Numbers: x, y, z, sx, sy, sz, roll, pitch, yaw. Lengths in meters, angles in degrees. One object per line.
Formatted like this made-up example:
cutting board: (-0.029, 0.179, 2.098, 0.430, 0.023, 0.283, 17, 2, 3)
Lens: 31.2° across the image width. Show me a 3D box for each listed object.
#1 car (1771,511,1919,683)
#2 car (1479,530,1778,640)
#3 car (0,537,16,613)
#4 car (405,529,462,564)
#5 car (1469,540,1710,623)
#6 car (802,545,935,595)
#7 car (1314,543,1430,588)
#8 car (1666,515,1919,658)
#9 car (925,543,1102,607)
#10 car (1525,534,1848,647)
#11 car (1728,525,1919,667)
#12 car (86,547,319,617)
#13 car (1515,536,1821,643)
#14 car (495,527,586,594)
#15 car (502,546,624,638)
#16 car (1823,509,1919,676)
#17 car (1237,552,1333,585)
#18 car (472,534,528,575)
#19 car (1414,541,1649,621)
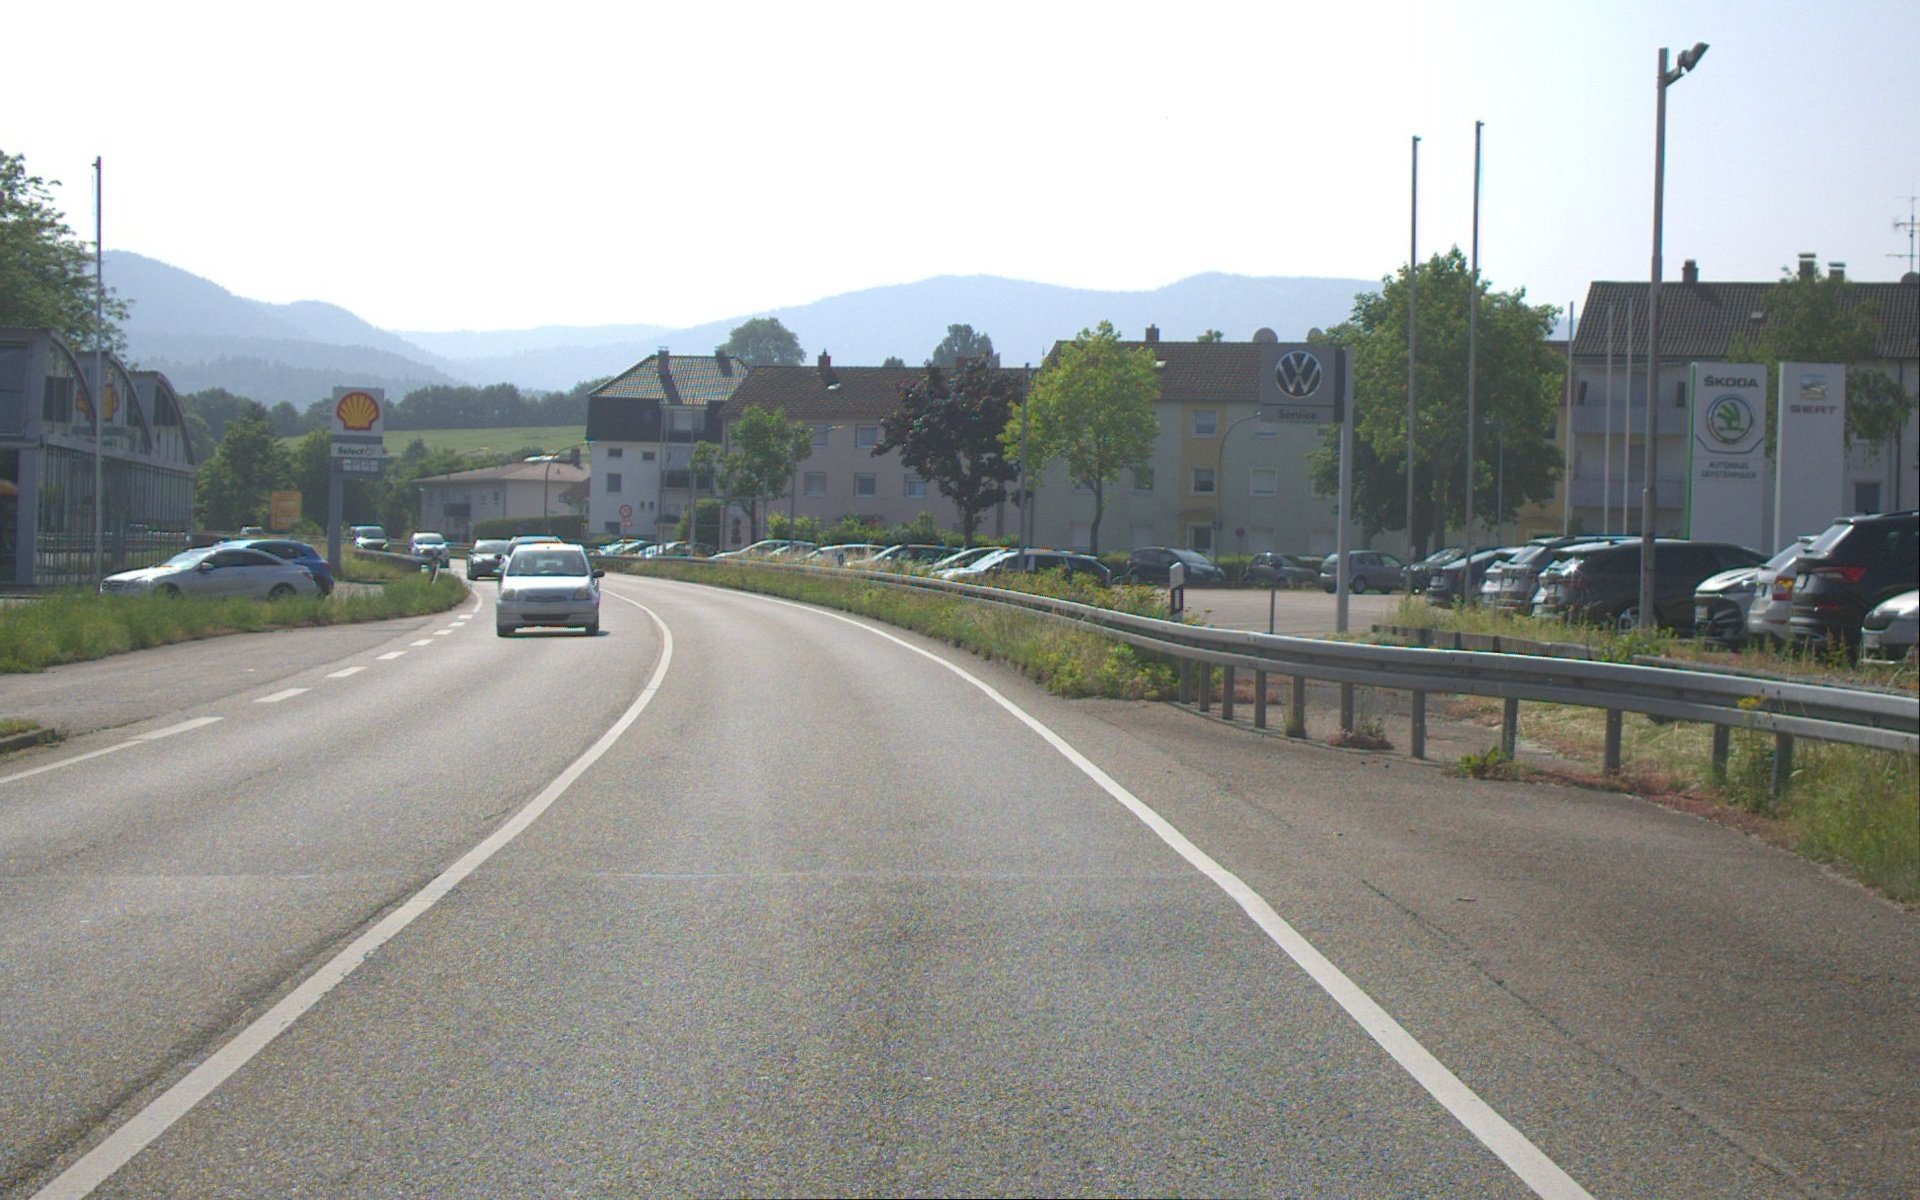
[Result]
car: (10.174, -0.047, 34.115, 3.879, 1.658, 1.840, 0, 0, 4)
car: (10.080, -0.227, 51.979, 4.075, 1.604, 1.793, 0, 0, -6)
car: (-19.541, -0.506, 62.463, 1.896, 1.398, 4.219, 2, 0, 44)
car: (-25.100, -2.533, 163.829, 1.792, 1.624, 4.228, -1, 1, -21)
car: (11.785, -0.351, 64.466, 4.091, 1.511, 1.825, 0, 0, -5)
car: (-2.958, -0.970, 110.773, 3.986, 1.574, 1.779, 0, 0, -13)
car: (14.030, -1.181, 117.117, 3.754, 1.516, 1.657, 0, 1, -35)
car: (10.574, -0.170, 39.574, 4.446, 1.595, 1.855, 0, 0, -4)
car: (1.302, -0.626, 85.194, 4.158, 1.485, 1.732, -1, 1, -7)
car: (9.846, -0.132, 46.771, 3.986, 1.489, 1.730, 0, 0, -1)
car: (10.426, -0.052, 36.879, 4.036, 1.481, 1.722, 0, 0, 4)
car: (-15.548, -0.392, 70.722, 1.852, 1.363, 4.383, 2, 2, 44)
car: (10.164, -0.157, 49.538, 3.986, 1.489, 1.791, 0, 0, -3)
car: (-10.576, -1.011, 86.933, 1.811, 1.624, 4.542, -1, 1, -1)
car: (-6.622, -0.154, 57.632, 1.677, 1.468, 3.707, -1, 1, -1)
car: (9.796, -0.083, 30.745, 3.731, 1.454, 1.665, 0, 0, 0)
car: (12.048, -1.171, 127.676, 1.589, 1.182, 3.662, 0, 1, -33)
car: (-16.900, -1.683, 126.200, 1.751, 1.469, 4.288, -1, 1, -12)
car: (11.136, -0.384, 67.158, 4.155, 1.511, 1.825, -1, 1, -9)
